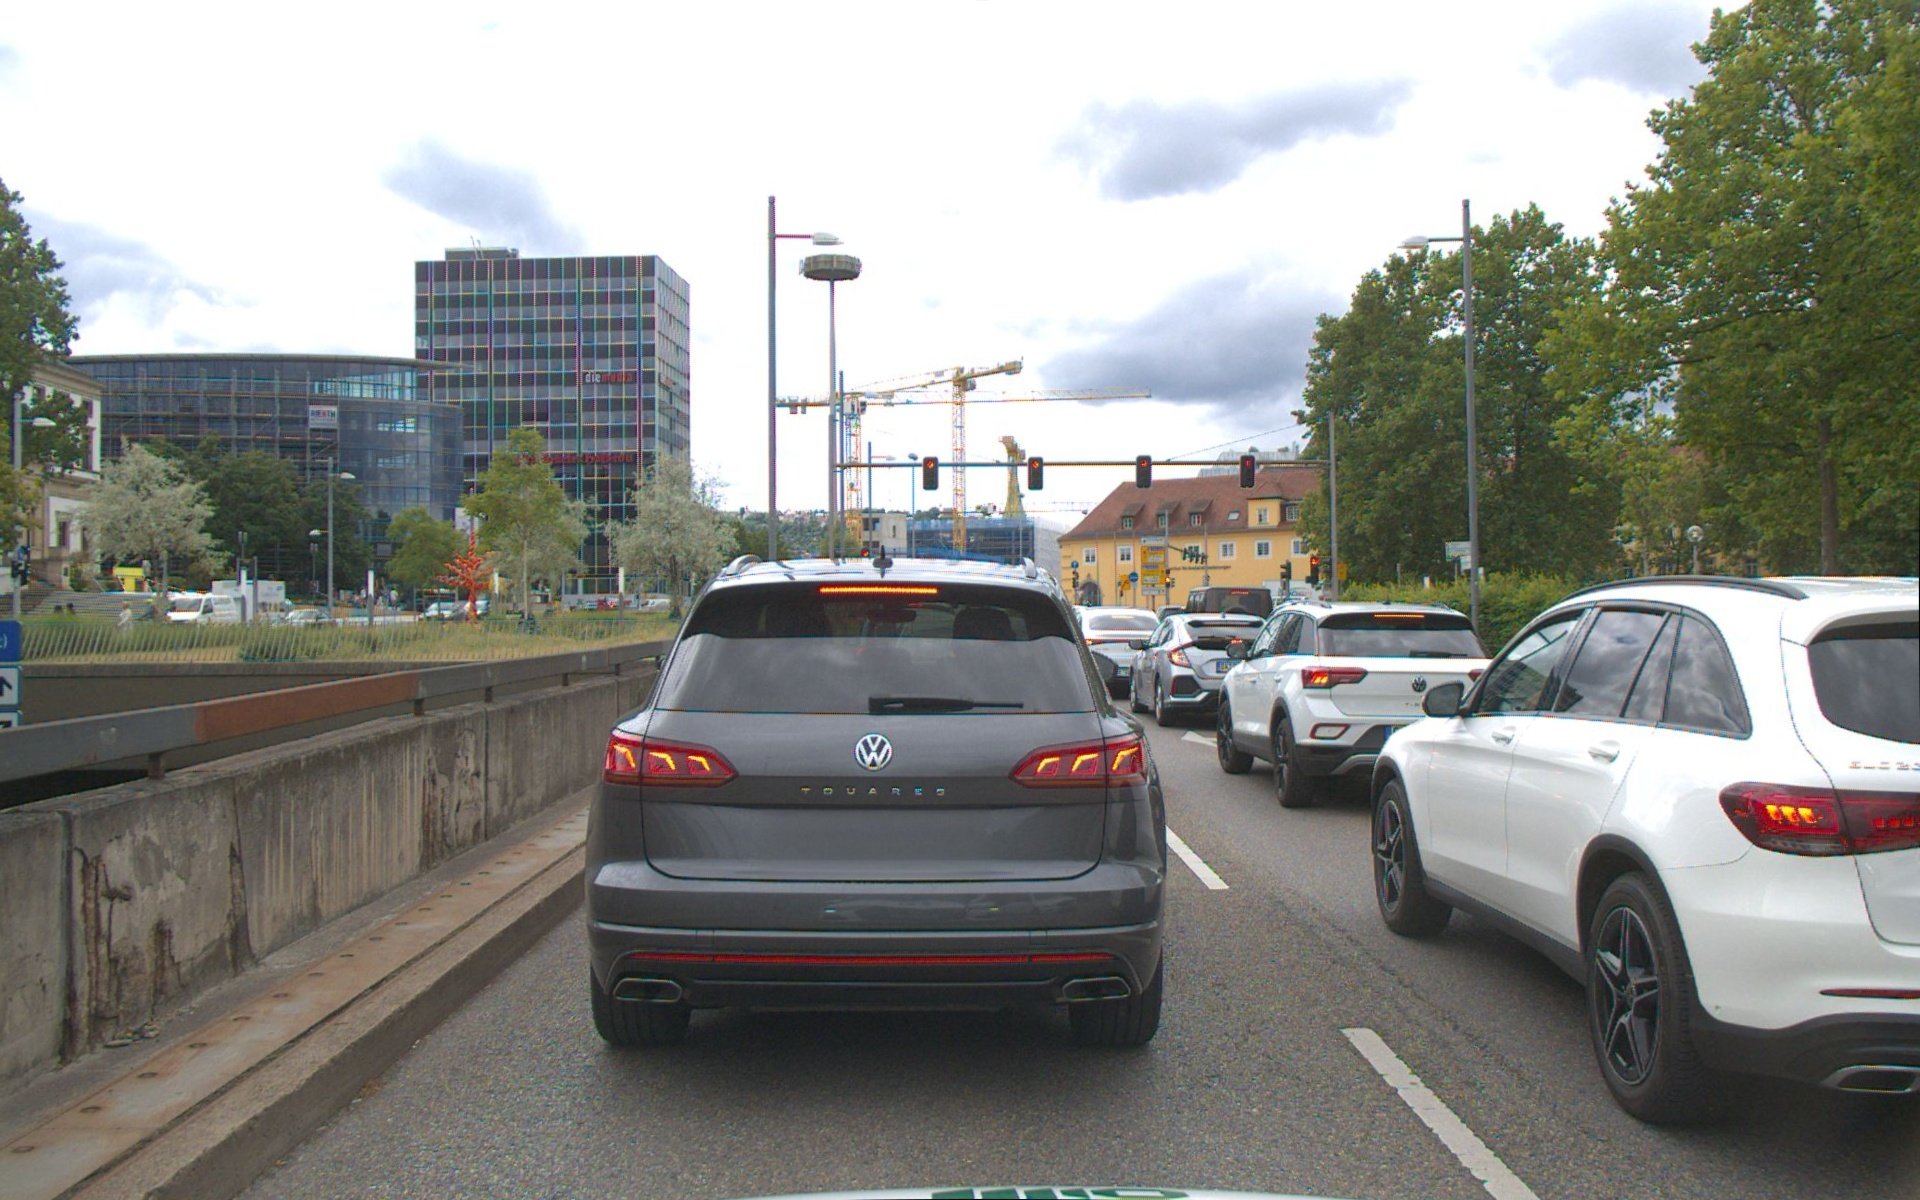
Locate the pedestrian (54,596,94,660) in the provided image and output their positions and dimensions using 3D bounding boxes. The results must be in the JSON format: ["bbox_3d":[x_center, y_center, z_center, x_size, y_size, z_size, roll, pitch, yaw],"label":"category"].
[{"bbox_3d":[-28.944,0.919,54.038,0.774,2.049,0.836,0,0,23],"label":"pedestrian"}]

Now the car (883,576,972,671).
[{"bbox_3d":[-0.757,0.526,38.541,1.912,2.053,3.930,2,0,-1],"label":"car"}]

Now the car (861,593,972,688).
[{"bbox_3d":[-0.802,0.718,31.005,1.912,1.628,3.930,2,0,-1],"label":"car"}]

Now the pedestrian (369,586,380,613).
[{"bbox_3d":[-44.094,-0.028,124.606,0.727,2.049,0.915,-1,1,-20],"label":"pedestrian"}]

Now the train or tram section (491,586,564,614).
[{"bbox_3d":[-50.734,-0.013,193.902,8.750,3.062,2.593,1,-2,28],"label":"train or tram section"}]

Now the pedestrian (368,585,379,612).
[{"bbox_3d":[-44.611,-0.128,125.877,0.726,2.049,0.789,-1,1,-16],"label":"pedestrian"}]

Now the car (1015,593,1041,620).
[{"bbox_3d":[4.562,0.463,111.512,1.586,1.656,3.999,2,-1,0],"label":"car"}]

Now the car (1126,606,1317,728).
[{"bbox_3d":[3.384,0.833,22.239,1.887,1.457,4.489,1,-1,0],"label":"car"}]

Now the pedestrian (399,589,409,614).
[{"bbox_3d":[-46.359,0.118,137.805,0.726,2.049,0.789,-1,1,-16],"label":"pedestrian"}]

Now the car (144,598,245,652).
[{"bbox_3d":[-31.375,1.001,67.907,1.953,2.048,4.692,0,1,0],"label":"car"}]

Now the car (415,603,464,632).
[{"bbox_3d":[-29.246,1.008,93.013,1.697,1.521,3.592,2,-1,-3],"label":"car"}]

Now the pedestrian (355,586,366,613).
[{"bbox_3d":[-45.384,-0.028,125.273,0.728,2.049,1.076,-1,1,-22],"label":"pedestrian"}]

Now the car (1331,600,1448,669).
[{"bbox_3d":[9.988,0.811,38.761,1.891,1.485,4.529,1,-1,5],"label":"car"}]

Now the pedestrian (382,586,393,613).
[{"bbox_3d":[-44.425,-0.063,128.247,0.726,2.049,0.789,-1,1,-16],"label":"pedestrian"}]

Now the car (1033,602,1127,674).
[{"bbox_3d":[2.682,0.845,37.774,1.887,1.556,4.047,1,-1,0],"label":"car"}]

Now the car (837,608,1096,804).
[{"bbox_3d":[0.018,0.807,14.388,1.912,1.408,3.930,2,0,-1],"label":"car"}]

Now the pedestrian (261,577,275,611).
[{"bbox_3d":[-43.198,-0.373,103.247,0.727,2.049,0.788,0,-2,-20],"label":"pedestrian"}]

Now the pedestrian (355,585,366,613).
[{"bbox_3d":[-45.025,-0.064,124.173,0.727,2.049,0.915,-1,1,-20],"label":"pedestrian"}]

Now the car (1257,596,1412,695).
[{"bbox_3d":[6.766,0.769,30.336,1.952,1.668,4.305,0,0,1],"label":"car"}]

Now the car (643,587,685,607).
[{"bbox_3d":[-32.930,-0.329,183.833,4.367,2.049,1.994,1,-2,33],"label":"car"}]

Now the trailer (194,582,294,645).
[{"bbox_3d":[-31.532,0.541,73.033,1.996,2.650,5.507,2,1,-1],"label":"trailer"}]

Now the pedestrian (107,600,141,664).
[{"bbox_3d":[-27.476,1.038,54.360,0.856,2.049,0.619,-1,1,-45],"label":"pedestrian"}]

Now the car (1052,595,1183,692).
[{"bbox_3d":[2.667,0.732,28.954,1.887,1.556,4.489,1,-1,0],"label":"car"}]

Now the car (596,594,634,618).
[{"bbox_3d":[-32.376,0.541,155.203,1.975,2.048,4.638,-1,1,-33],"label":"car"}]

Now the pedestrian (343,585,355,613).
[{"bbox_3d":[-46.211,-0.075,125.078,0.728,2.049,0.914,-1,1,-24],"label":"pedestrian"}]

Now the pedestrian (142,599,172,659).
[{"bbox_3d":[-28.236,1.004,58.167,0.716,2.047,0.628,-1,4,-8],"label":"pedestrian"}]

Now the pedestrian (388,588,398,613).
[{"bbox_3d":[-47.258,0.063,137.763,0.726,2.049,0.789,-1,1,-16],"label":"pedestrian"}]

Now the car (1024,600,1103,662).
[{"bbox_3d":[2.704,0.812,44.062,1.887,1.556,4.047,1,-1,0],"label":"car"}]

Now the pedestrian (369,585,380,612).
[{"bbox_3d":[-45.021,-0.104,127.260,0.726,2.049,0.789,-1,1,-16],"label":"pedestrian"}]

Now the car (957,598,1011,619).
[{"bbox_3d":[1.919,0.723,135.087,4.142,1.631,1.746,1,-1,36],"label":"car"}]

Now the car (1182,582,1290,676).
[{"bbox_3d":[6.480,0.679,39.202,1.871,2.049,4.011,2,-1,0],"label":"car"}]

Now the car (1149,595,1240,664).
[{"bbox_3d":[6.299,0.791,44.778,1.871,1.727,4.011,2,-1,0],"label":"car"}]

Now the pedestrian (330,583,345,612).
[{"bbox_3d":[-45.653,-0.194,121.278,0.723,2.049,0.793,-1,1,0],"label":"pedestrian"}]

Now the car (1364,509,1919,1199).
[{"bbox_3d":[2.985,0.633,6.174,1.887,1.682,4.489,0,0,0],"label":"car"}]

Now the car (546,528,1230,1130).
[{"bbox_3d":[-0.232,0.649,6.649,1.912,1.680,3.999,0,0,-1],"label":"car"}]

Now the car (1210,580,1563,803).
[{"bbox_3d":[3.398,0.683,14.099,1.887,1.578,4.489,1,-1,0],"label":"car"}]
